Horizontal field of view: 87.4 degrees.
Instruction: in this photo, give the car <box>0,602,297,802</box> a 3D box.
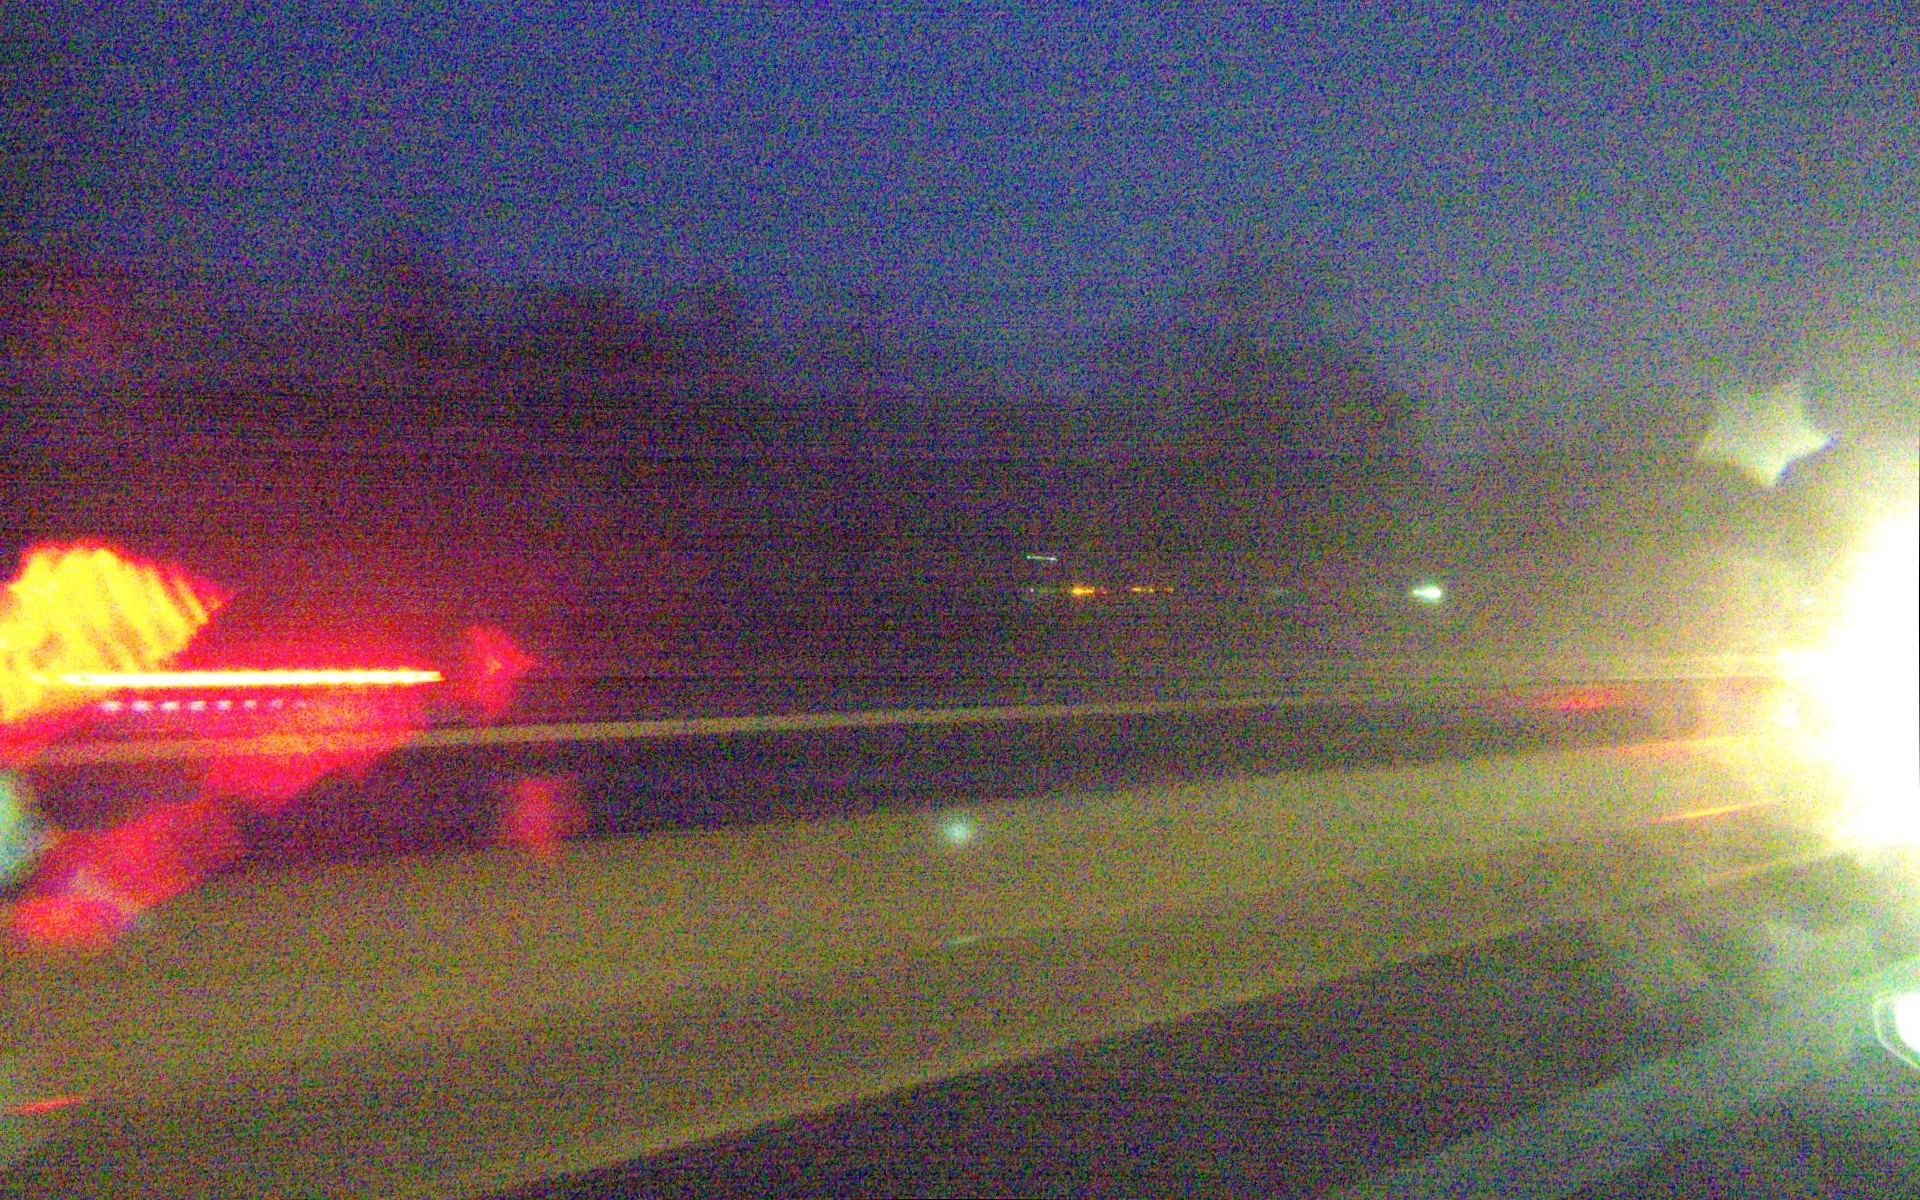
[{"bbox_3d":[-8.774,0.840,8.934,4.615,1.546,1.984,2,2,-30],"label":"car"}]
